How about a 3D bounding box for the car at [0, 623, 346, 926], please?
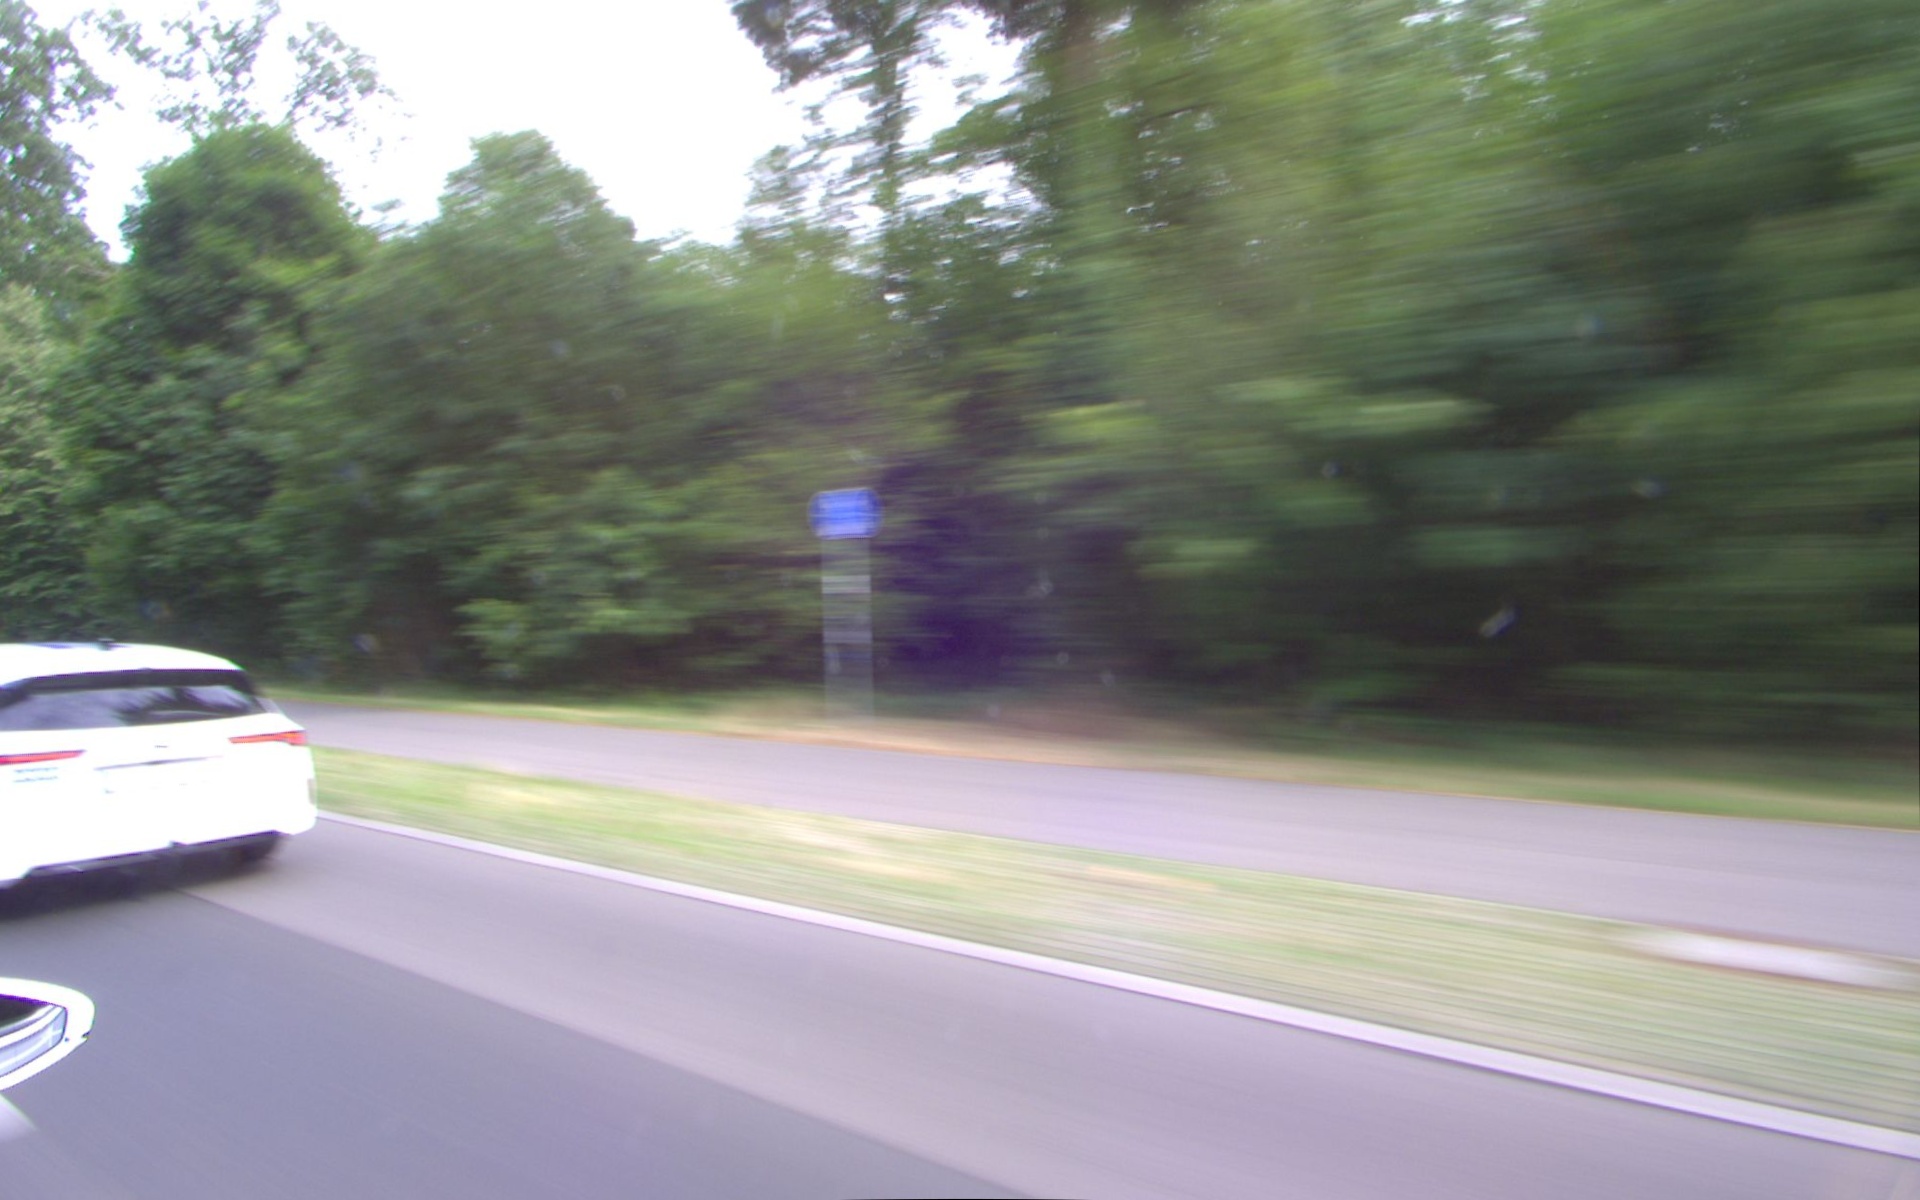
[{"bbox_3d":[-6.106,0.885,6.626,4.428,1.428,1.832,0,-1,34],"label":"car"}]
